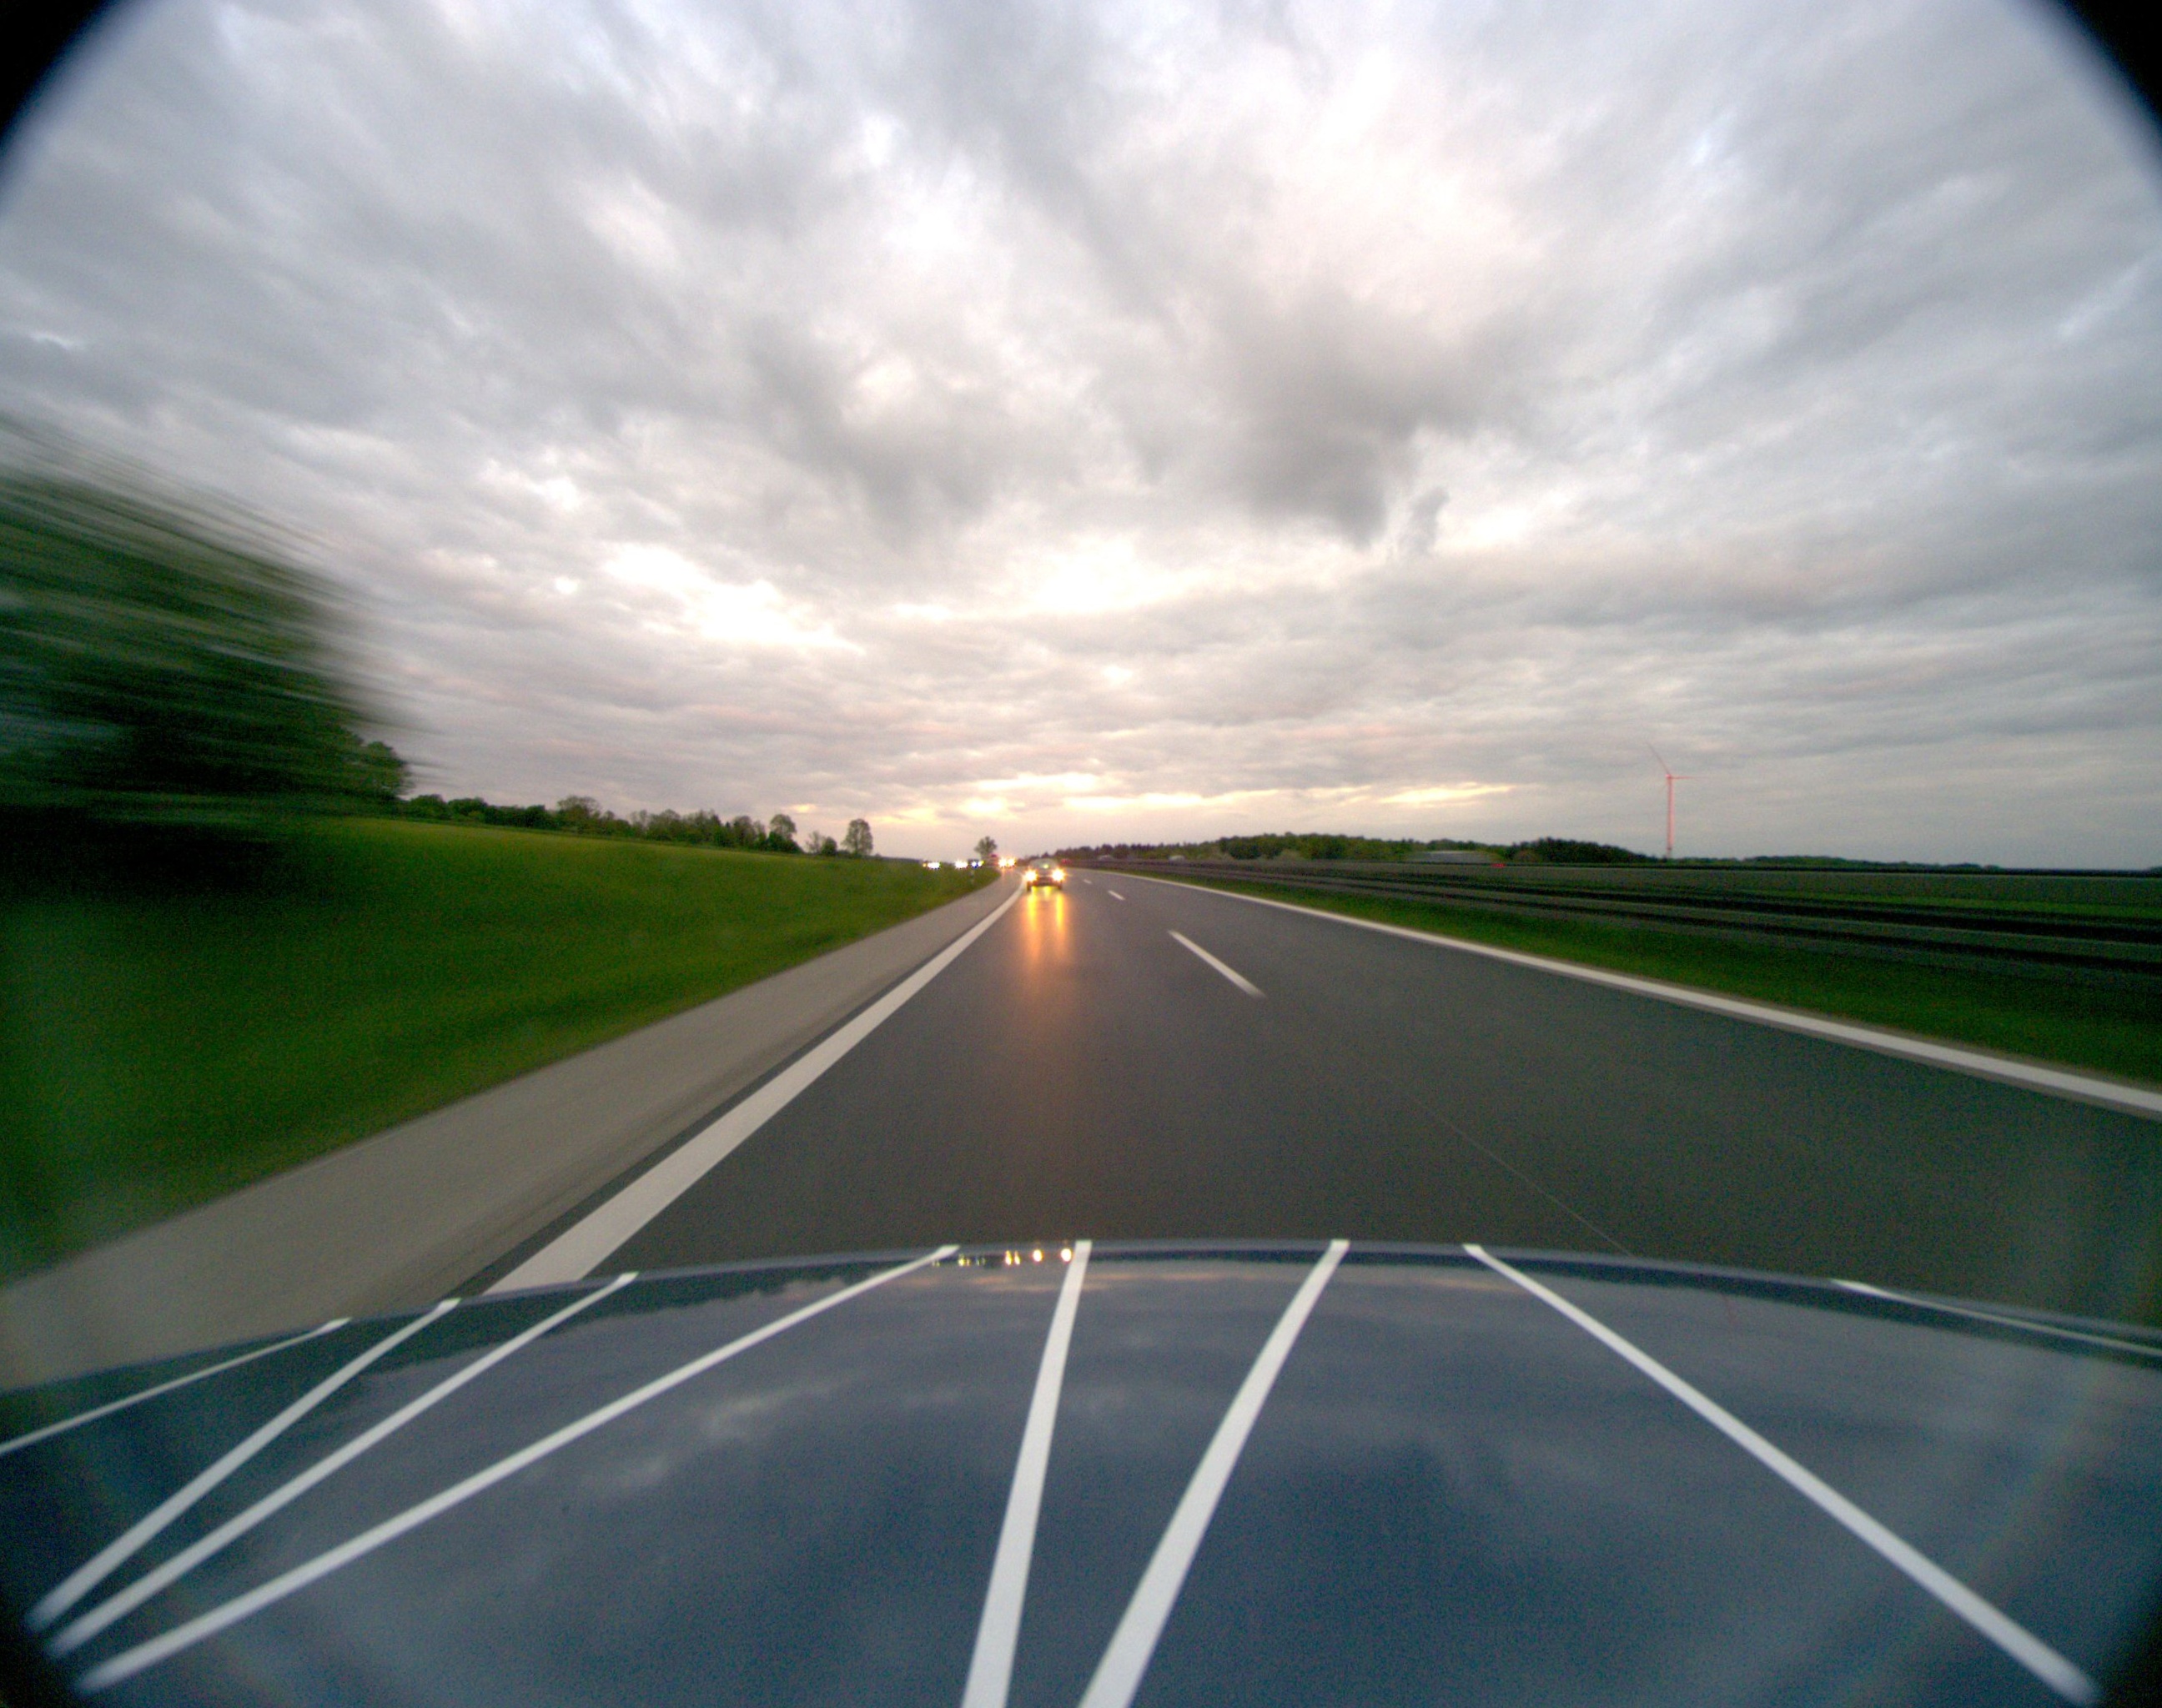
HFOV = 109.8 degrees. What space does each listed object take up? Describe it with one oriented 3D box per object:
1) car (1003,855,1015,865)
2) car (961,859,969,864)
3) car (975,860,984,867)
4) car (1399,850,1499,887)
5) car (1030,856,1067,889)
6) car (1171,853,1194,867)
[{"bbox_3d":[-13.443,1.117,141.224,1.921,1.827,3.997,0,0,-9],"label":"car"},{"bbox_3d":[-35.136,2.323,230.418,1.804,1.635,4.088,-1,0,-16],"label":"car"},{"bbox_3d":[-27.840,2.575,207.691,1.805,1.635,4.088,-1,0,-17],"label":"car"},{"bbox_3d":[14.303,0.552,29.769,1.643,1.280,3.948,2,-1,-7],"label":"car"},{"bbox_3d":[-1.614,0.873,37.333,1.682,1.504,3.999,-2,0,-3],"label":"car"},{"bbox_3d":[11.470,0.701,86.003,1.658,1.410,3.998,-2,-1,-5],"label":"car"}]
